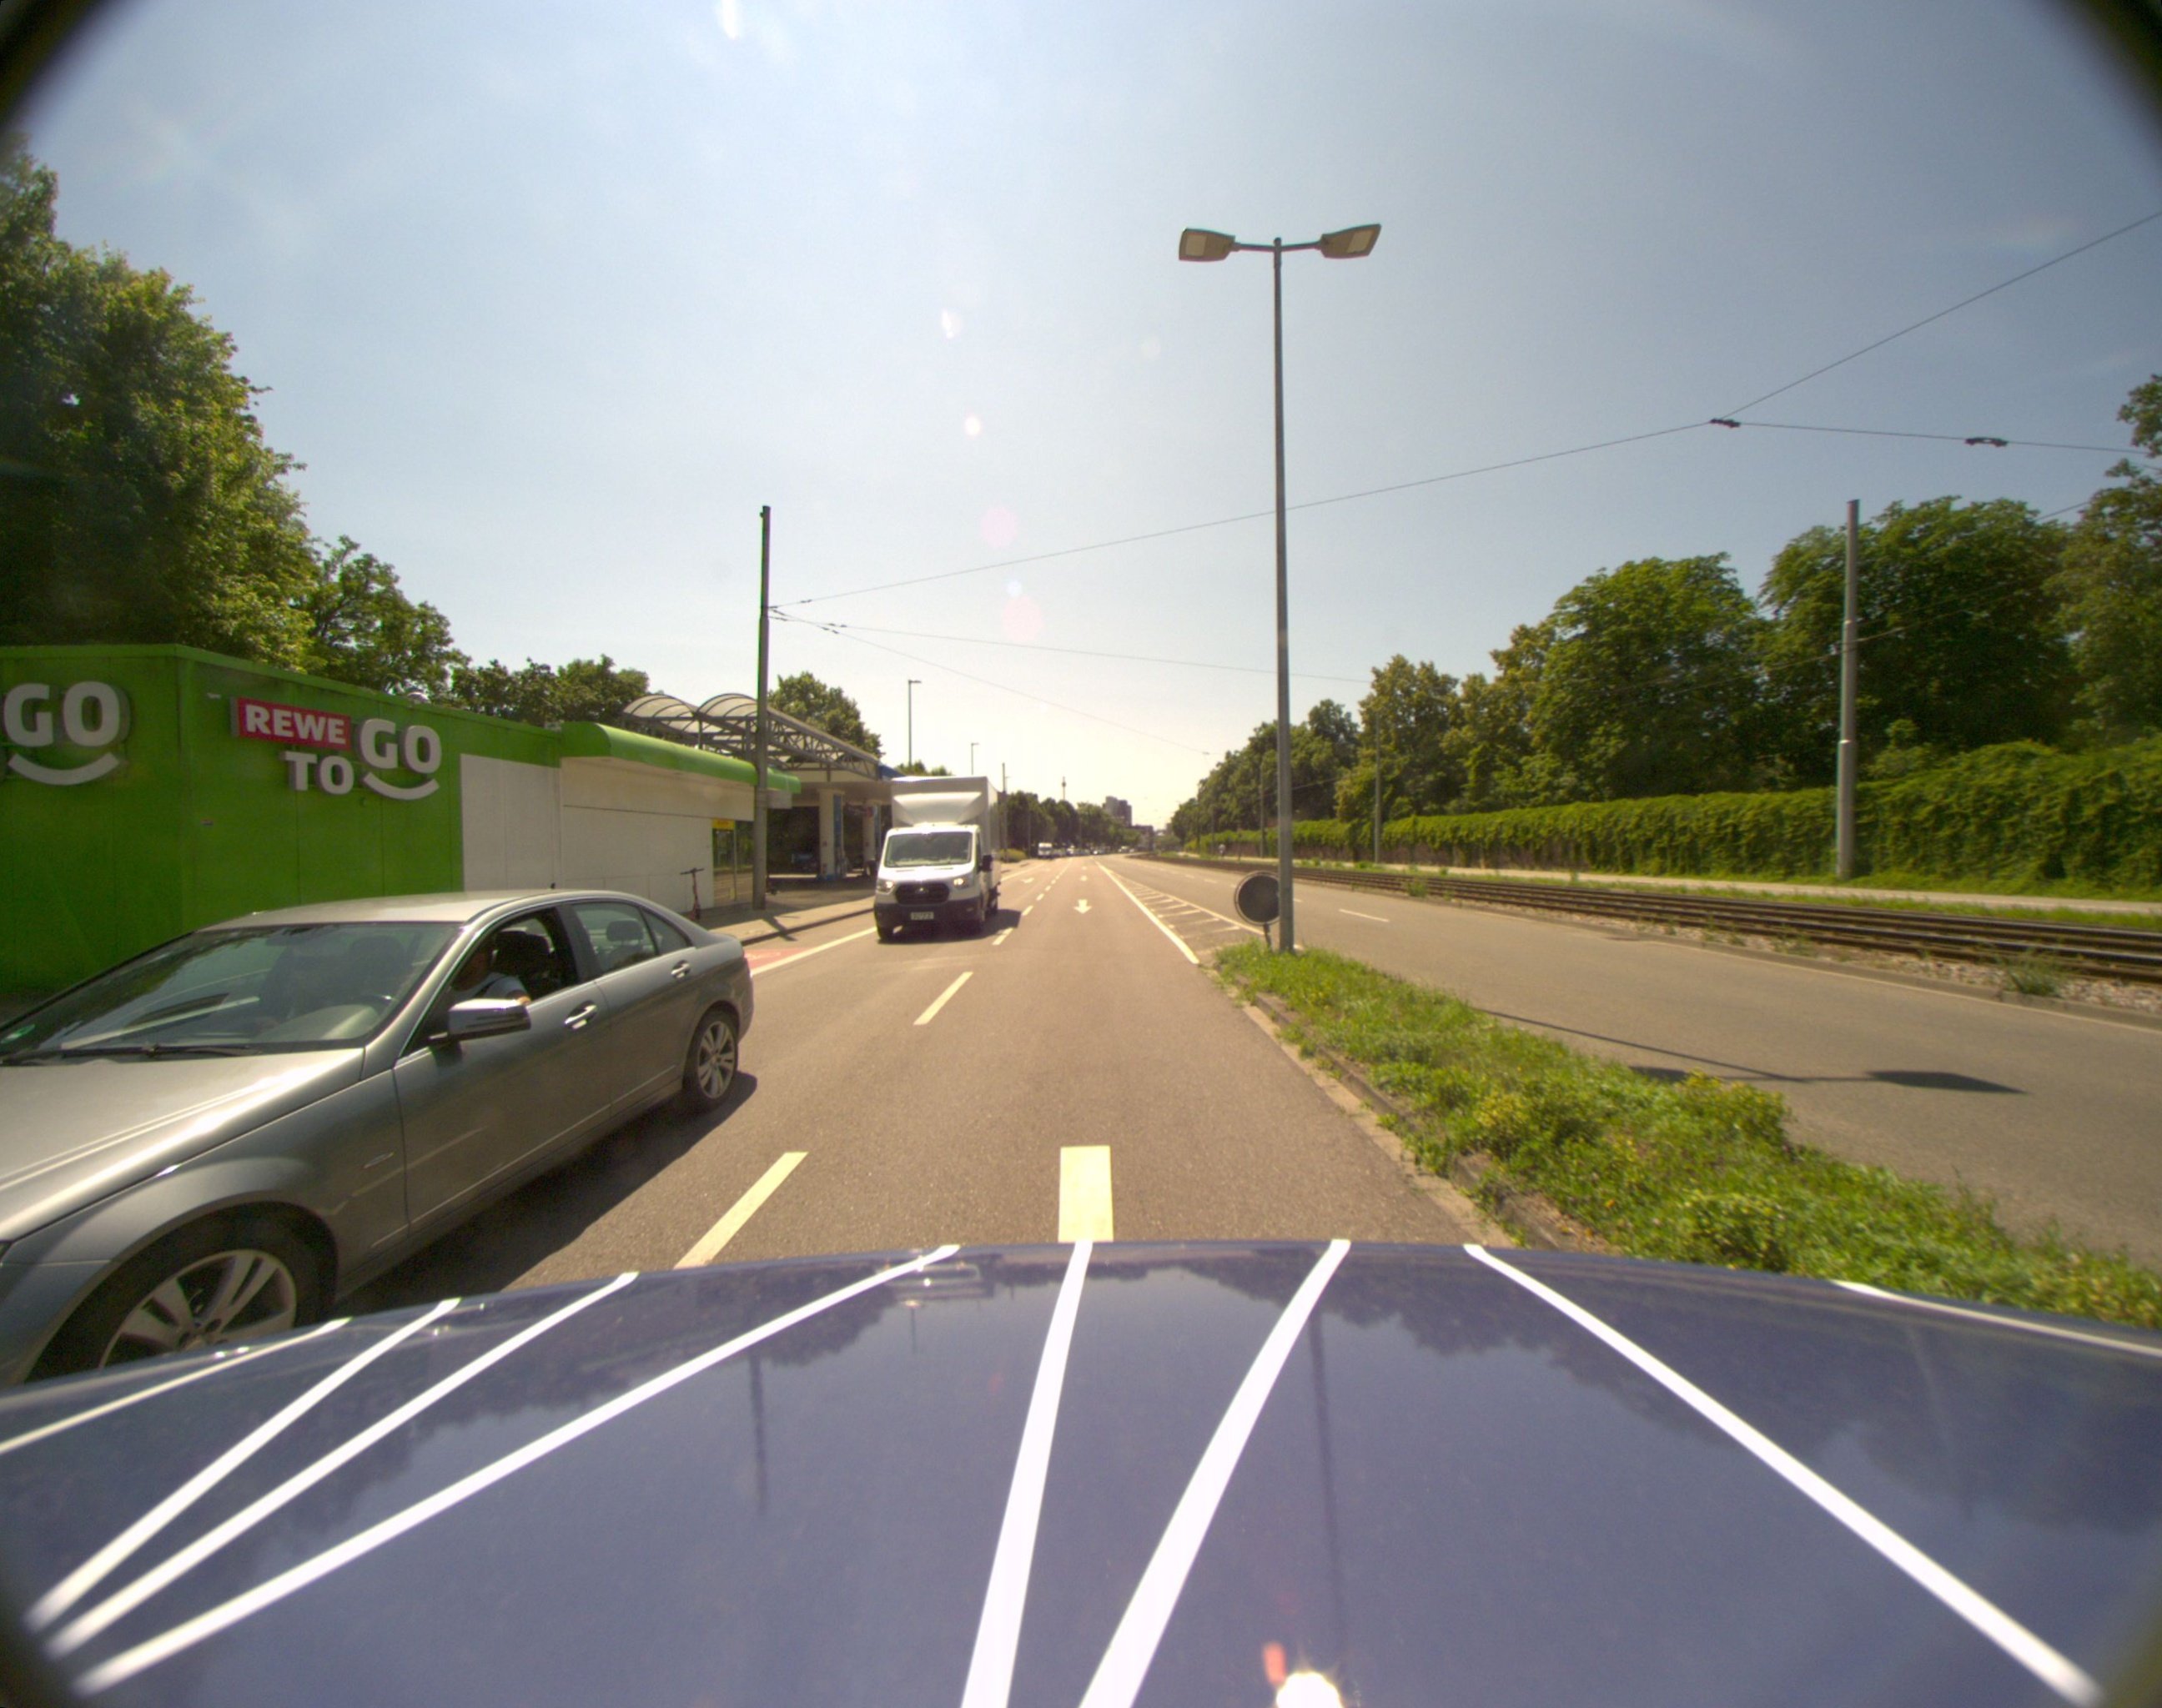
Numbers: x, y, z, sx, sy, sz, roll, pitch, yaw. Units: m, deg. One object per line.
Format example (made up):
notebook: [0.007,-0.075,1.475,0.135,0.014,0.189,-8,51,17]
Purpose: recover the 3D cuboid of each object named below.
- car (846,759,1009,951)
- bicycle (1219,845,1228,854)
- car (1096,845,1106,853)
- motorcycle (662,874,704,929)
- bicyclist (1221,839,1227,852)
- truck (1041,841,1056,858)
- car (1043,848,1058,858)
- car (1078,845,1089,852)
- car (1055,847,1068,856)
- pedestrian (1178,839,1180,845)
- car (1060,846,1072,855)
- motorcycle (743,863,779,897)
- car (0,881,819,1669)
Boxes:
car: [-3.124,-0.057,17.824,2.230,3.316,8.632,-3,1,-2]
bicycle: [17.328,-0.557,92.296,0.618,1.049,1.977,-2,1,0]
car: [4.600,-1.127,177.126,1.946,1.674,4.001,-2,1,5]
motorcycle: [-8.684,1.020,16.596,0.253,1.099,1.117,5,2,0]
bicyclist: [17.310,-1.068,92.174,0.483,1.603,0.768,-2,2,-1]
truck: [-4.875,-0.678,115.143,1.998,2.462,5.236,-2,1,0]
car: [-4.924,-0.151,122.884,1.912,1.488,4.000,-2,1,3]
car: [0.561,-1.294,185.733,1.911,1.488,4.002,-2,1,9]
car: [-3.548,-0.484,140.276,1.912,1.488,4.000,-2,1,3]
pedestrian: [27.354,-3.331,211.782,0.453,1.655,0.302,-2,1,0]
car: [-2.923,-0.703,149.129,1.912,1.488,4.000,-2,1,3]
motorcycle: [-11.769,0.961,27.962,1.157,1.203,0.364,1,0,-2]
car: [-3.146,1.020,3.768,1.717,1.464,5.301,-3,0,1]
